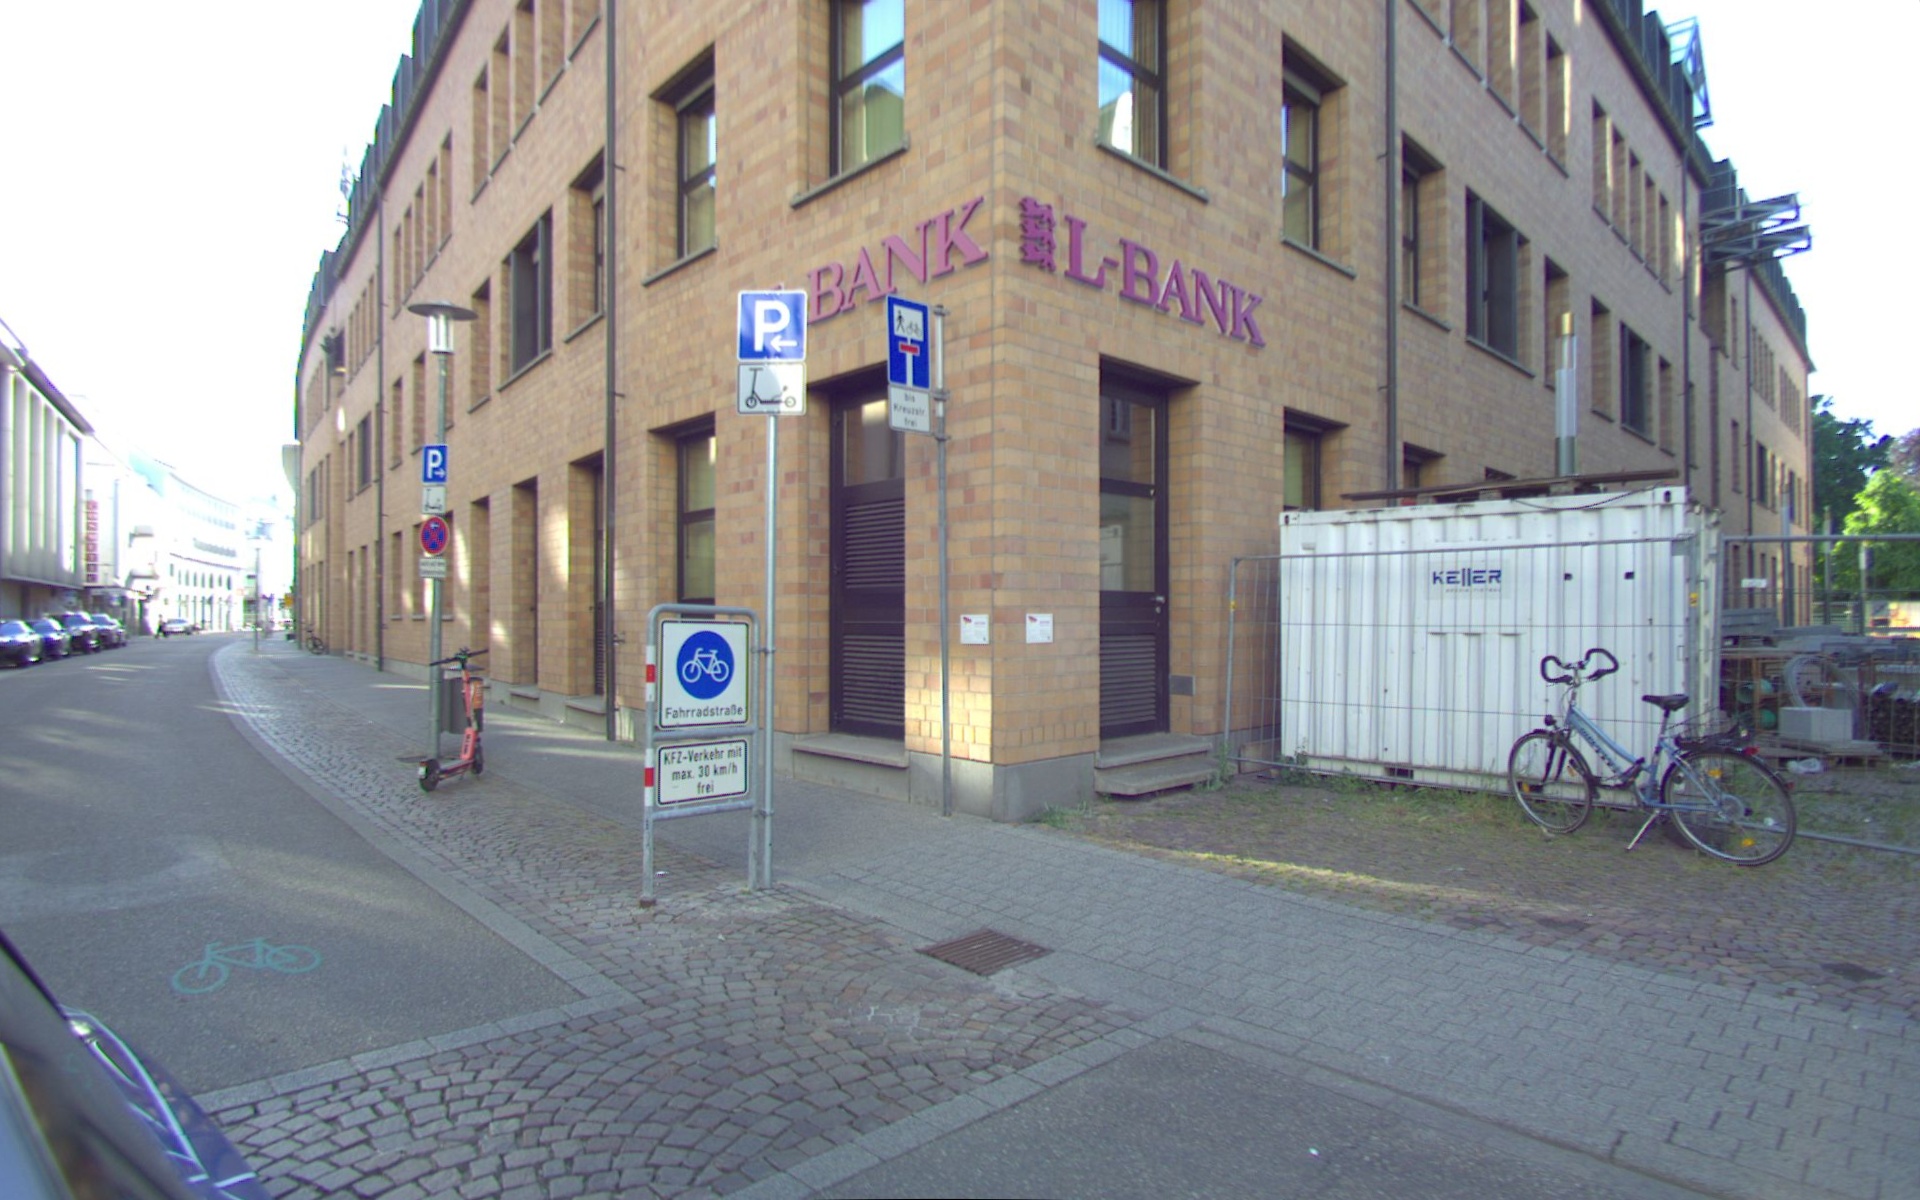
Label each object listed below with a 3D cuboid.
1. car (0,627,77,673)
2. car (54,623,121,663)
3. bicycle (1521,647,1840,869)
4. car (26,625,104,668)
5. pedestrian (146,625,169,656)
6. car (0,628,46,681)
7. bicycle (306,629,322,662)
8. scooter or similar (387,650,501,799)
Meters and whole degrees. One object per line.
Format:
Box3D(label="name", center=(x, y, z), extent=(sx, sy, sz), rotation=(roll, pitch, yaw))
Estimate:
Box3D(label="car", center=(-32.236, 1.707, 35.162), extent=(1.935, 1.418, 4.206), rotation=(-2, 0, -36))
Box3D(label="car", center=(-39.875, 1.918, 46.330), extent=(1.935, 1.659, 4.206), rotation=(-2, 0, -36))
Box3D(label="bicycle", center=(4.385, 0.893, 6.303), extent=(0.424, 1.153, 1.596), rotation=(-1, -1, -24))
Box3D(label="car", center=(-35.544, 1.803, 40.292), extent=(1.935, 1.547, 4.206), rotation=(-2, 0, -36))
Box3D(label="pedestrian", center=(-53.250, 2.670, 67.161), extent=(0.897, 2.029, 0.934), rotation=(-2, -1, 33))
Box3D(label="car", center=(-28.529, 1.601, 29.823), extent=(1.935, 1.418, 4.206), rotation=(-2, 0, -36))
Box3D(label="bicycle", center=(-23.440, 1.648, 36.708), extent=(0.424, 1.153, 1.694), rotation=(0, -1, -35))
Box3D(label="scooter or similar", center=(-4.609, 1.073, 9.119), extent=(0.461, 1.234, 1.301), rotation=(0, -3, -6))
